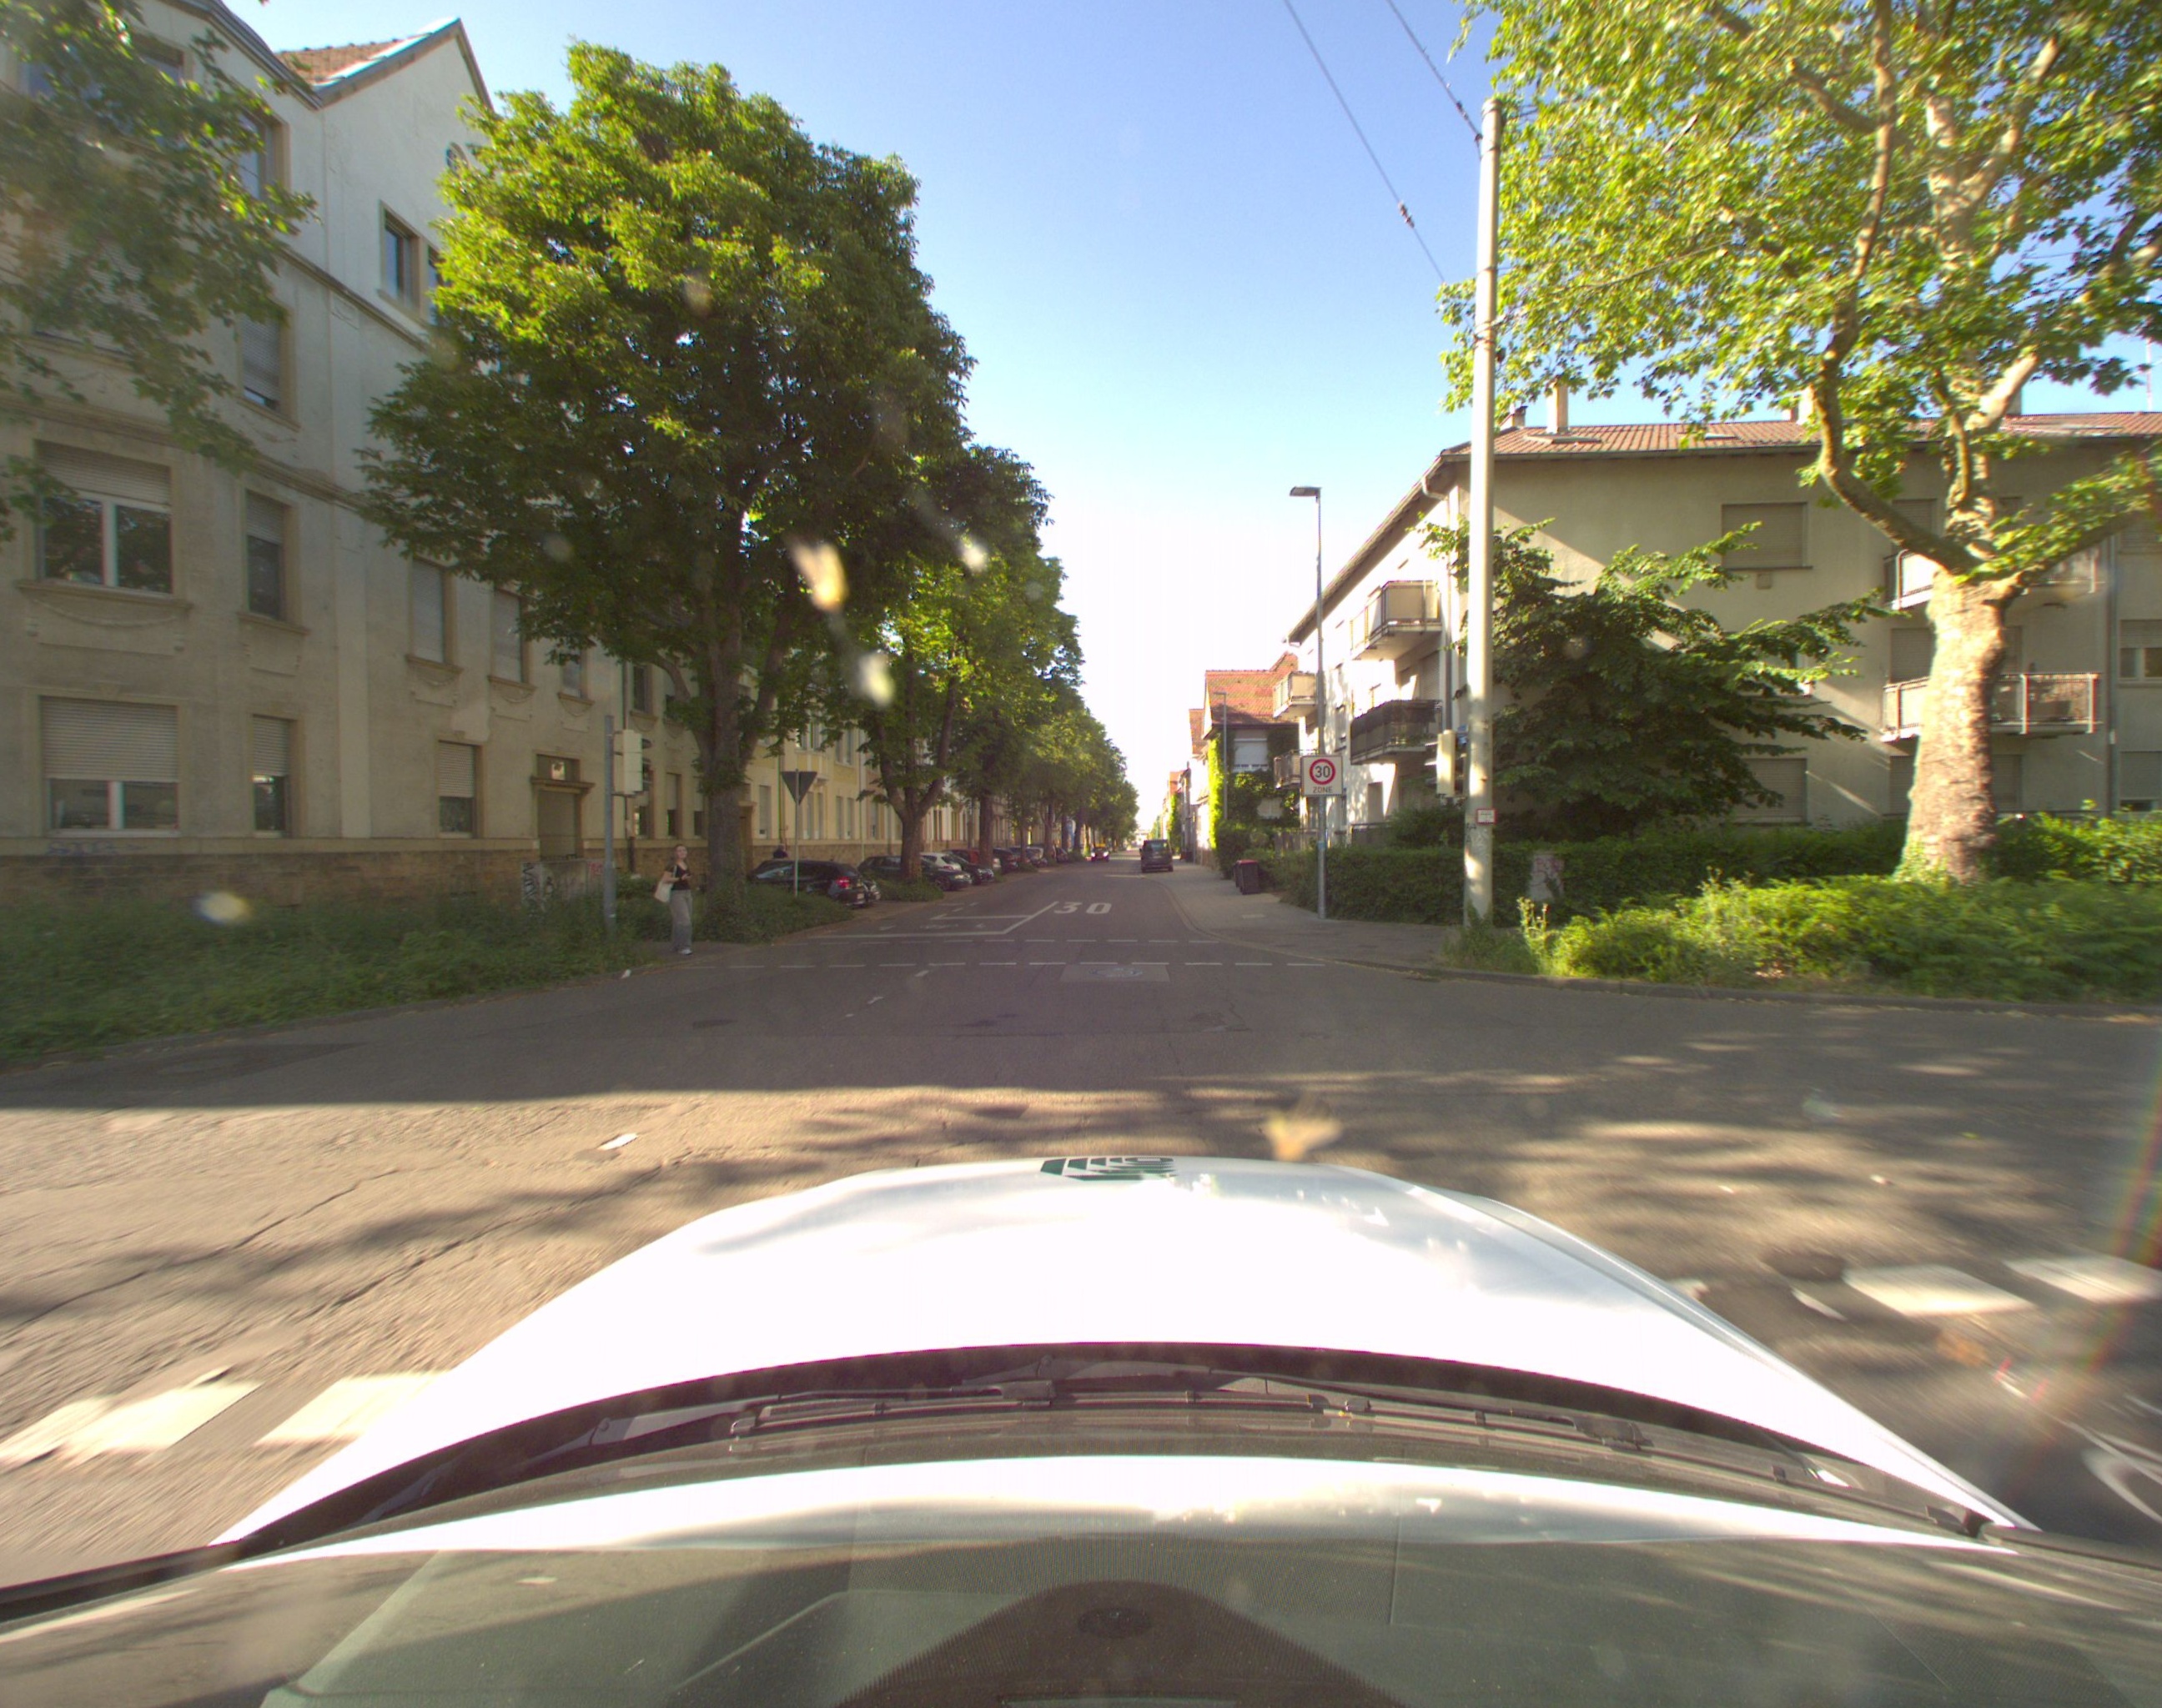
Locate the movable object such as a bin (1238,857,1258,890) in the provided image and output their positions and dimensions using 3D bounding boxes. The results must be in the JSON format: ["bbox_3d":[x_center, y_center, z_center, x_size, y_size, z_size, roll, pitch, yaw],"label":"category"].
[{"bbox_3d":[5.509,0.640,26.825,0.481,1.044,0.657,-4,0,2],"label":"movable object such as a bin"}]

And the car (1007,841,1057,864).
[{"bbox_3d":[-4.013,-0.144,67.296,3.963,1.855,1.830,0,0,3],"label":"car"}]

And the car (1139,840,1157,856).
[{"bbox_3d":[6.960,-0.633,84.804,1.692,1.539,4.159,-3,1,3],"label":"car"}]

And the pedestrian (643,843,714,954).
[{"bbox_3d":[-6.276,0.668,12.715,0.688,1.682,0.683,-1,1,15],"label":"pedestrian"}]

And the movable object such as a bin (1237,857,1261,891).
[{"bbox_3d":[5.383,0.636,26.095,0.594,1.044,0.708,-4,0,2],"label":"movable object such as a bin"}]

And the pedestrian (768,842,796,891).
[{"bbox_3d":[-10.223,0.428,27.849,0.457,1.658,0.898,-1,0,12],"label":"pedestrian"}]

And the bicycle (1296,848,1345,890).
[{"bbox_3d":[7.437,0.453,25.232,1.587,1.186,0.636,-4,1,-40],"label":"bicycle"}]

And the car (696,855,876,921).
[{"bbox_3d":[-7.305,0.825,20.382,3.865,1.476,1.617,-2,0,4],"label":"car"}]

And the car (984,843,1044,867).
[{"bbox_3d":[-4.698,0.052,57.621,3.970,1.592,1.861,0,1,3],"label":"car"}]

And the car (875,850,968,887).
[{"bbox_3d":[-6.563,0.586,33.670,3.416,1.452,1.706,0,0,6],"label":"car"}]

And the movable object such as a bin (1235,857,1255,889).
[{"bbox_3d":[5.553,0.642,27.607,0.481,1.044,0.619,-4,0,2],"label":"movable object such as a bin"}]

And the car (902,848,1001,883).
[{"bbox_3d":[-5.689,0.505,36.096,3.967,1.482,1.788,0,0,5],"label":"car"}]

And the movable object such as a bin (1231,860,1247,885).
[{"bbox_3d":[5.972,0.692,30.788,0.501,0.915,0.574,-4,0,6],"label":"movable object such as a bin"}]

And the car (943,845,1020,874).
[{"bbox_3d":[-5.533,0.282,45.689,3.967,1.566,1.866,0,0,5],"label":"car"}]

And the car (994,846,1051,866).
[{"bbox_3d":[-4.314,0.157,60.702,3.879,1.446,1.864,0,1,9],"label":"car"}]

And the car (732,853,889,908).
[{"bbox_3d":[-7.550,0.722,22.998,3.872,1.415,1.614,-1,1,-2],"label":"car"}]

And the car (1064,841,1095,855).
[{"bbox_3d":[-0.181,-0.756,107.086,3.973,1.760,1.798,1,0,0],"label":"car"}]

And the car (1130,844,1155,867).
[{"bbox_3d":[4.700,0.134,61.853,1.780,1.600,4.006,-3,0,5],"label":"car"}]

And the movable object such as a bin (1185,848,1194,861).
[{"bbox_3d":[9.346,0.026,70.215,0.645,1.039,0.828,-2,1,2],"label":"movable object such as a bin"}]

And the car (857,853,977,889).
[{"bbox_3d":[-6.275,0.643,31.392,4.193,1.349,1.705,0,0,4],"label":"car"}]

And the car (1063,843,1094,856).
[{"bbox_3d":[-0.320,-0.562,104.482,3.973,1.464,1.798,1,0,0],"label":"car"}]

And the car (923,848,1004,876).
[{"bbox_3d":[-6.245,0.391,43.568,3.967,1.403,1.833,1,1,5],"label":"car"}]

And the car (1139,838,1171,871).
[{"bbox_3d":[4.520,-0.017,49.800,1.856,1.916,4.789,0,1,5],"label":"car"}]

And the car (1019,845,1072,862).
[{"bbox_3d":[-3.092,-0.073,71.921,4.513,1.503,1.893,0,0,3],"label":"car"}]

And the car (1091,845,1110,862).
[{"bbox_3d":[1.889,-0.084,79.346,1.634,1.508,3.707,-2,1,4],"label":"car"}]

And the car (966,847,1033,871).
[{"bbox_3d":[-5.188,0.309,52.083,3.969,1.514,1.749,0,0,4],"label":"car"}]

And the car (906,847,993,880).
[{"bbox_3d":[-6.599,0.453,41.204,3.967,1.508,1.725,-2,0,5],"label":"car"}]
